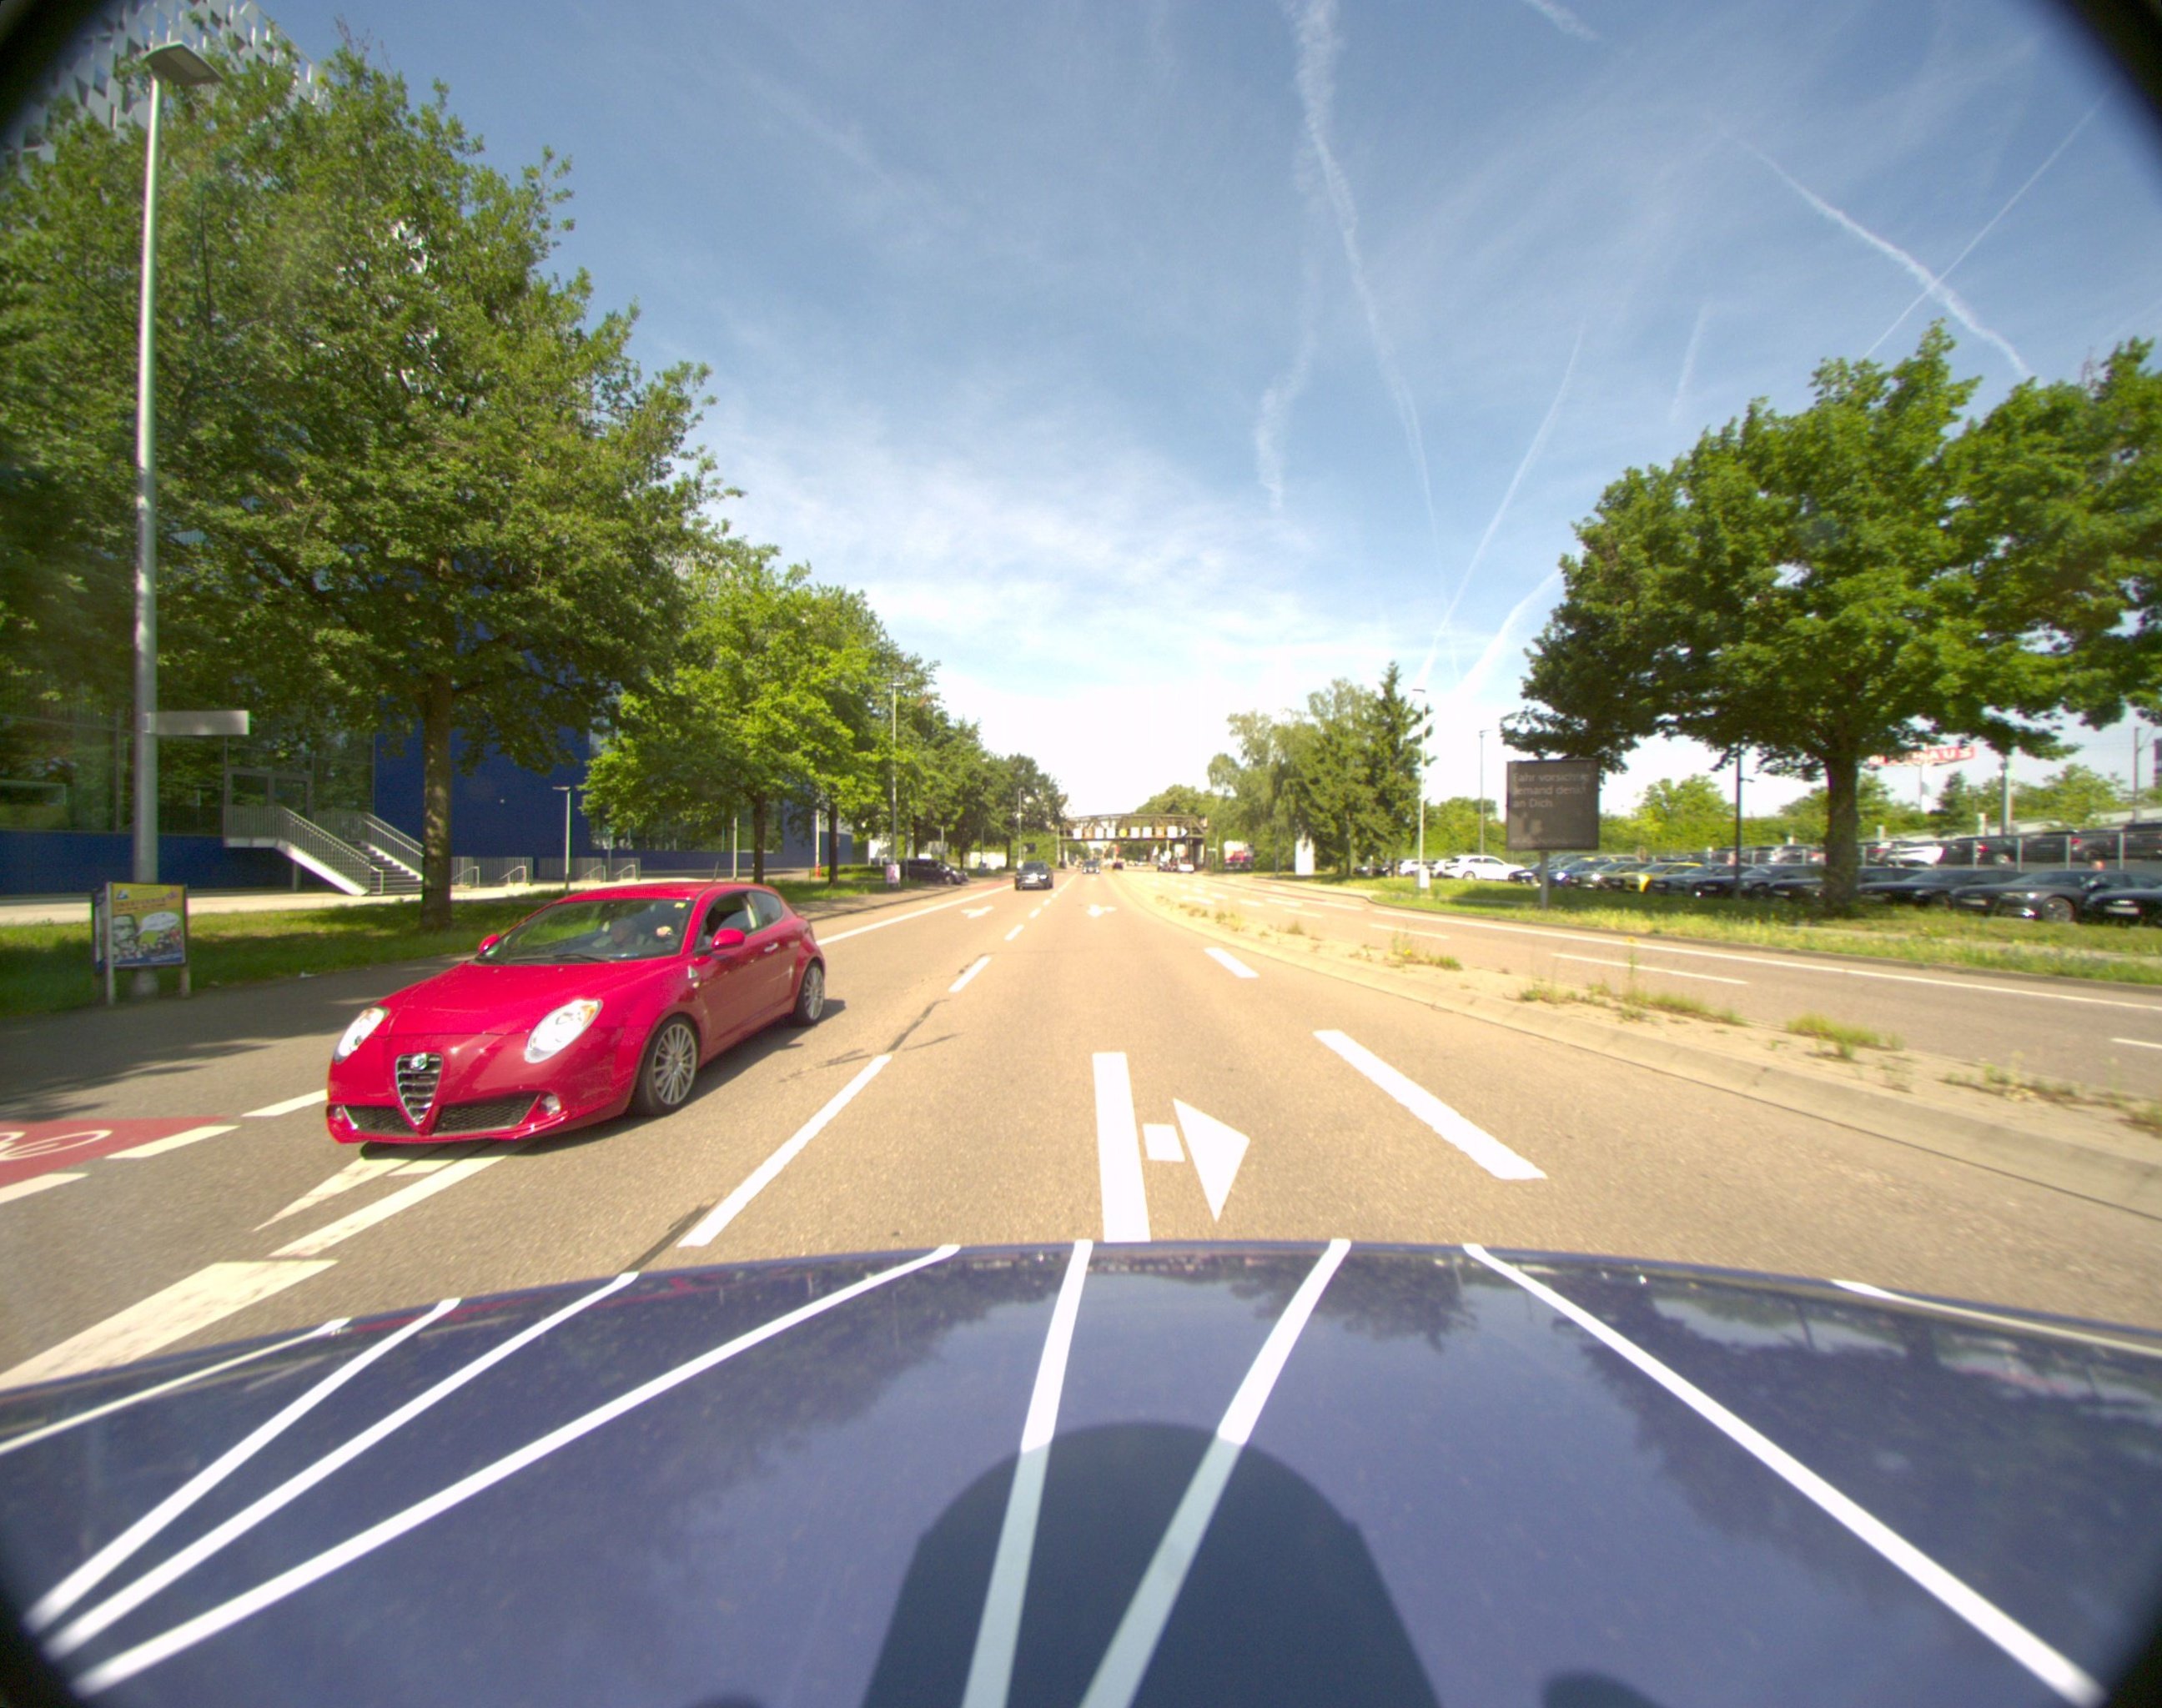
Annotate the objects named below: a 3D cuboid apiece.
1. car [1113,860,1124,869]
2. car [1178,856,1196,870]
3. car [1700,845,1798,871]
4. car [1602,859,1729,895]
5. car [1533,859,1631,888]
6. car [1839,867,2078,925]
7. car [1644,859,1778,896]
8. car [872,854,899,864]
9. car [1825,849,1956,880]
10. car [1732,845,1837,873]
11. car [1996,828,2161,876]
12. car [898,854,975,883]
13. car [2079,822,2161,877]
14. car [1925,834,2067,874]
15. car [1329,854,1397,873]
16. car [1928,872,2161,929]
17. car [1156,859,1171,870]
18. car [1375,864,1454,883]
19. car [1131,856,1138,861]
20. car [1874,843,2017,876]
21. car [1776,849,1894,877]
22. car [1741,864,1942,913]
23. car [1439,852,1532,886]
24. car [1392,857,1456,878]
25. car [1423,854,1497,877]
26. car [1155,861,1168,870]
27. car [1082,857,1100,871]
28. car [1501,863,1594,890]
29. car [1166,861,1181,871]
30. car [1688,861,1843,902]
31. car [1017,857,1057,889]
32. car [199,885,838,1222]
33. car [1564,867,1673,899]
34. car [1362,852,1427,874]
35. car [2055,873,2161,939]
[{"bbox_3d":[6.729,1.810,135.123,1.785,1.438,4.120,1,0,1],"label":"car"},{"bbox_3d":[13.635,1.148,98.144,1.998,1.608,4.105,2,0,5],"label":"car"},{"bbox_3d":[40.401,0.260,46.017,4.213,1.468,2.000,-1,0,-2],"label":"car"},{"bbox_3d":[24.485,0.949,31.901,3.897,1.332,1.840,2,0,-1],"label":"car"},{"bbox_3d":[24.308,0.928,36.976,3.603,1.277,1.744,2,0,-1],"label":"car"},{"bbox_3d":[24.326,1.137,21.192,4.511,1.467,1.919,0,0,-1],"label":"car"},{"bbox_3d":[24.325,0.882,29.431,3.603,1.277,1.865,2,0,-1],"label":"car"},{"bbox_3d":[-32.973,0.885,128.198,4.292,1.629,1.860,-1,0,31],"label":"car"},{"bbox_3d":[40.425,0.507,38.030,4.511,1.476,1.979,0,0,-1],"label":"car"},{"bbox_3d":[39.963,0.266,43.251,4.213,1.468,2.000,-1,0,-2],"label":"car"},{"bbox_3d":[40.150,-0.069,30.504,4.511,1.805,1.979,0,0,-1],"label":"car"},{"bbox_3d":[-9.165,0.926,48.391,4.452,1.684,1.845,1,0,8],"label":"car"},{"bbox_3d":[40.119,-0.150,27.849,4.511,1.951,1.979,0,0,-1],"label":"car"},{"bbox_3d":[40.121,-0.009,33.379,4.279,1.695,1.664,0,0,-1],"label":"car"},{"bbox_3d":[22.647,0.736,61.091,4.698,1.381,2.000,-1,0,1],"label":"car"},{"bbox_3d":[24.305,1.128,18.840,4.511,1.282,1.919,0,0,-1],"label":"car"},{"bbox_3d":[14.666,1.868,134.645,1.998,1.850,5.451,2,0,0],"label":"car"},{"bbox_3d":[24.083,1.399,55.007,4.863,1.261,2.000,-1,0,1],"label":"car"},{"bbox_3d":[17.383,1.513,246.443,1.824,1.711,3.636,-1,0,-2],"label":"car"},{"bbox_3d":[40.515,0.251,35.690,4.511,1.476,1.979,0,0,-1],"label":"car"},{"bbox_3d":[40.294,0.472,40.666,4.511,1.410,1.891,-1,0,-1],"label":"car"},{"bbox_3d":[24.302,1.074,24.415,4.511,1.467,1.979,0,0,-1],"label":"car"},{"bbox_3d":[24.009,0.888,45.218,4.474,1.864,2.000,-1,0,2],"label":"car"},{"bbox_3d":[23.928,0.935,53.102,3.689,1.363,1.816,-1,0,1],"label":"car"},{"bbox_3d":[25.295,0.770,50.844,3.995,1.477,1.848,-1,0,4],"label":"car"},{"bbox_3d":[13.274,1.904,125.394,1.639,1.379,4.318,1,0,1],"label":"car"},{"bbox_3d":[1.051,1.074,82.446,1.888,1.427,4.000,-1,0,1],"label":"car"},{"bbox_3d":[24.326,1.153,39.724,3.801,1.277,1.744,-1,0,-1],"label":"car"},{"bbox_3d":[14.151,1.797,116.228,1.702,1.510,4.027,2,0,0],"label":"car"},{"bbox_3d":[24.077,0.953,26.844,3.689,1.277,1.985,2,0,-1],"label":"car"},{"bbox_3d":[-2.382,1.023,41.927,1.824,1.632,4.113,-1,0,2],"label":"car"},{"bbox_3d":[-3.399,1.069,5.729,1.798,1.446,3.979,-1,0,1],"label":"car"},{"bbox_3d":[24.334,1.304,34.452,3.752,1.277,1.663,2,0,-1],"label":"car"},{"bbox_3d":[24.174,0.675,58.724,4.224,1.537,2.000,-1,0,1],"label":"car"},{"bbox_3d":[24.142,1.094,16.139,4.511,1.282,1.919,0,0,-1],"label":"car"}]
